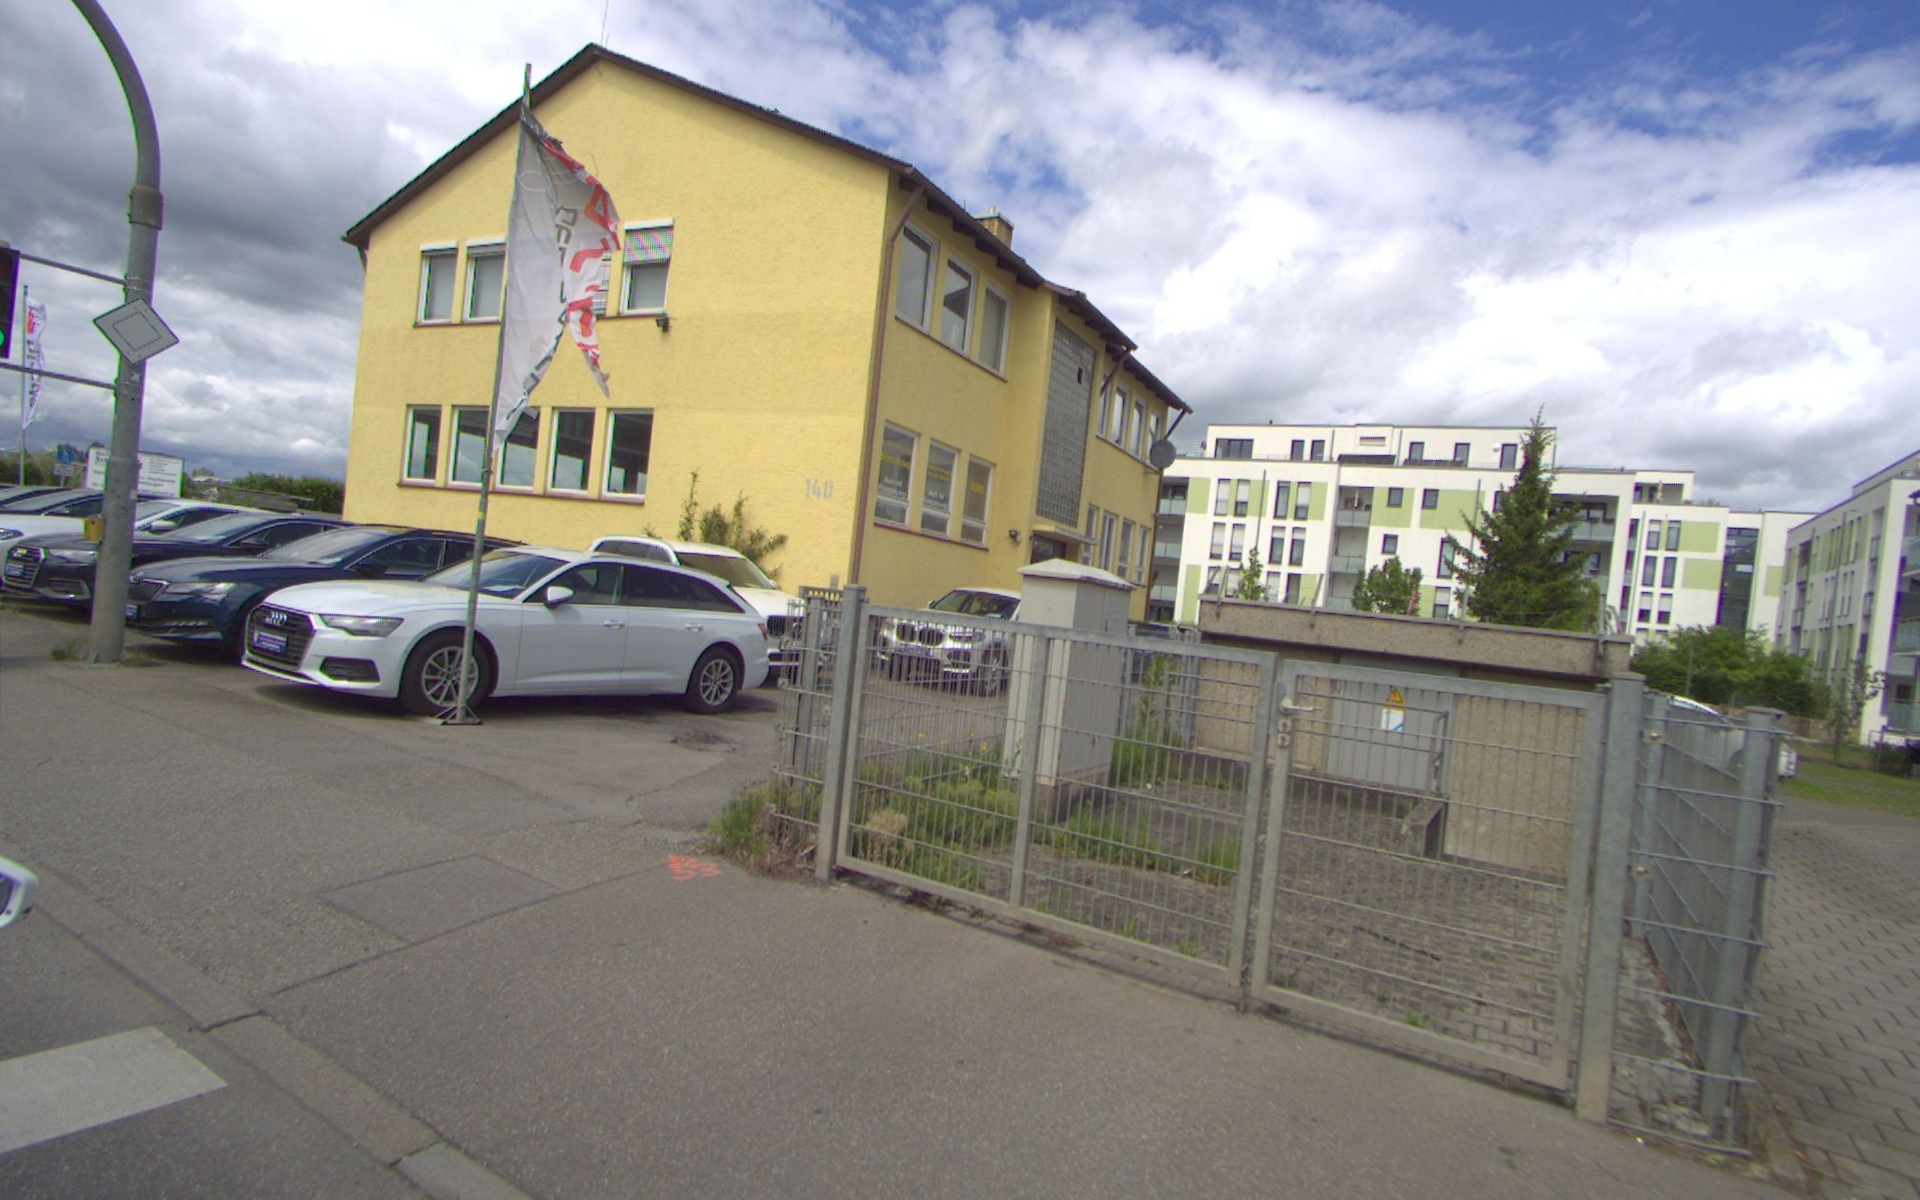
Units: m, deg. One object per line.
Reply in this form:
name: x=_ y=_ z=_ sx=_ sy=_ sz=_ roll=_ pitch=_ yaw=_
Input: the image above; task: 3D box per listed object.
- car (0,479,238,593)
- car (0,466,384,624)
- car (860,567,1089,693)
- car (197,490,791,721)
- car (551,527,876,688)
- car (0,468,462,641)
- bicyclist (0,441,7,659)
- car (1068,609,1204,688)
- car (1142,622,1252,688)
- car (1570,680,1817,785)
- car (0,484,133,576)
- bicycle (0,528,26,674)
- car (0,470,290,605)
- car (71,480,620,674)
car: x=-15.448 y=-1.186 z=16.930 sx=2.004 sy=1.447 sz=4.861 roll=7 pitch=-2 yaw=32
car: x=-11.044 y=-0.716 z=13.976 sx=1.998 sy=1.497 sz=4.808 roll=7 pitch=-2 yaw=32
car: x=0.389 y=0.573 z=16.507 sx=1.827 sy=1.600 sz=4.136 roll=7 pitch=-1 yaw=30
car: x=-3.975 y=0.169 z=9.542 sx=2.011 sy=1.511 sz=4.704 roll=7 pitch=-1 yaw=30
car: x=-3.706 y=0.037 z=14.508 sx=4.961 sy=1.844 sz=1.972 roll=5 pitch=0 yaw=42
car: x=-8.812 y=-0.449 z=12.382 sx=1.955 sy=1.420 sz=4.379 roll=7 pitch=-2 yaw=29
bicyclist: x=-7.986 y=-0.429 z=7.816 sx=0.875 sy=1.699 sz=0.637 roll=7 pitch=5 yaw=32
car: x=4.388 y=1.234 z=24.522 sx=1.827 sy=1.576 sz=4.135 roll=6 pitch=-1 yaw=30
car: x=6.885 y=1.624 z=28.948 sx=1.827 sy=1.576 sz=4.135 roll=6 pitch=-1 yaw=30
car: x=15.216 y=2.720 z=21.194 sx=3.934 sy=1.526 sz=1.935 roll=6 pitch=-2 yaw=32
car: x=-18.085 y=-1.447 z=18.188 sx=1.970 sy=1.414 sz=4.332 roll=5 pitch=-3 yaw=29
bicycle: x=-8.112 y=-0.075 z=7.912 sx=1.944 sy=1.078 sz=0.637 roll=7 pitch=4 yaw=32
car: x=-13.363 y=-0.999 z=15.391 sx=1.982 sy=1.511 sz=4.685 roll=7 pitch=-2 yaw=32
car: x=-6.338 y=-0.106 z=11.035 sx=2.001 sy=1.511 sz=4.666 roll=7 pitch=-1 yaw=31
